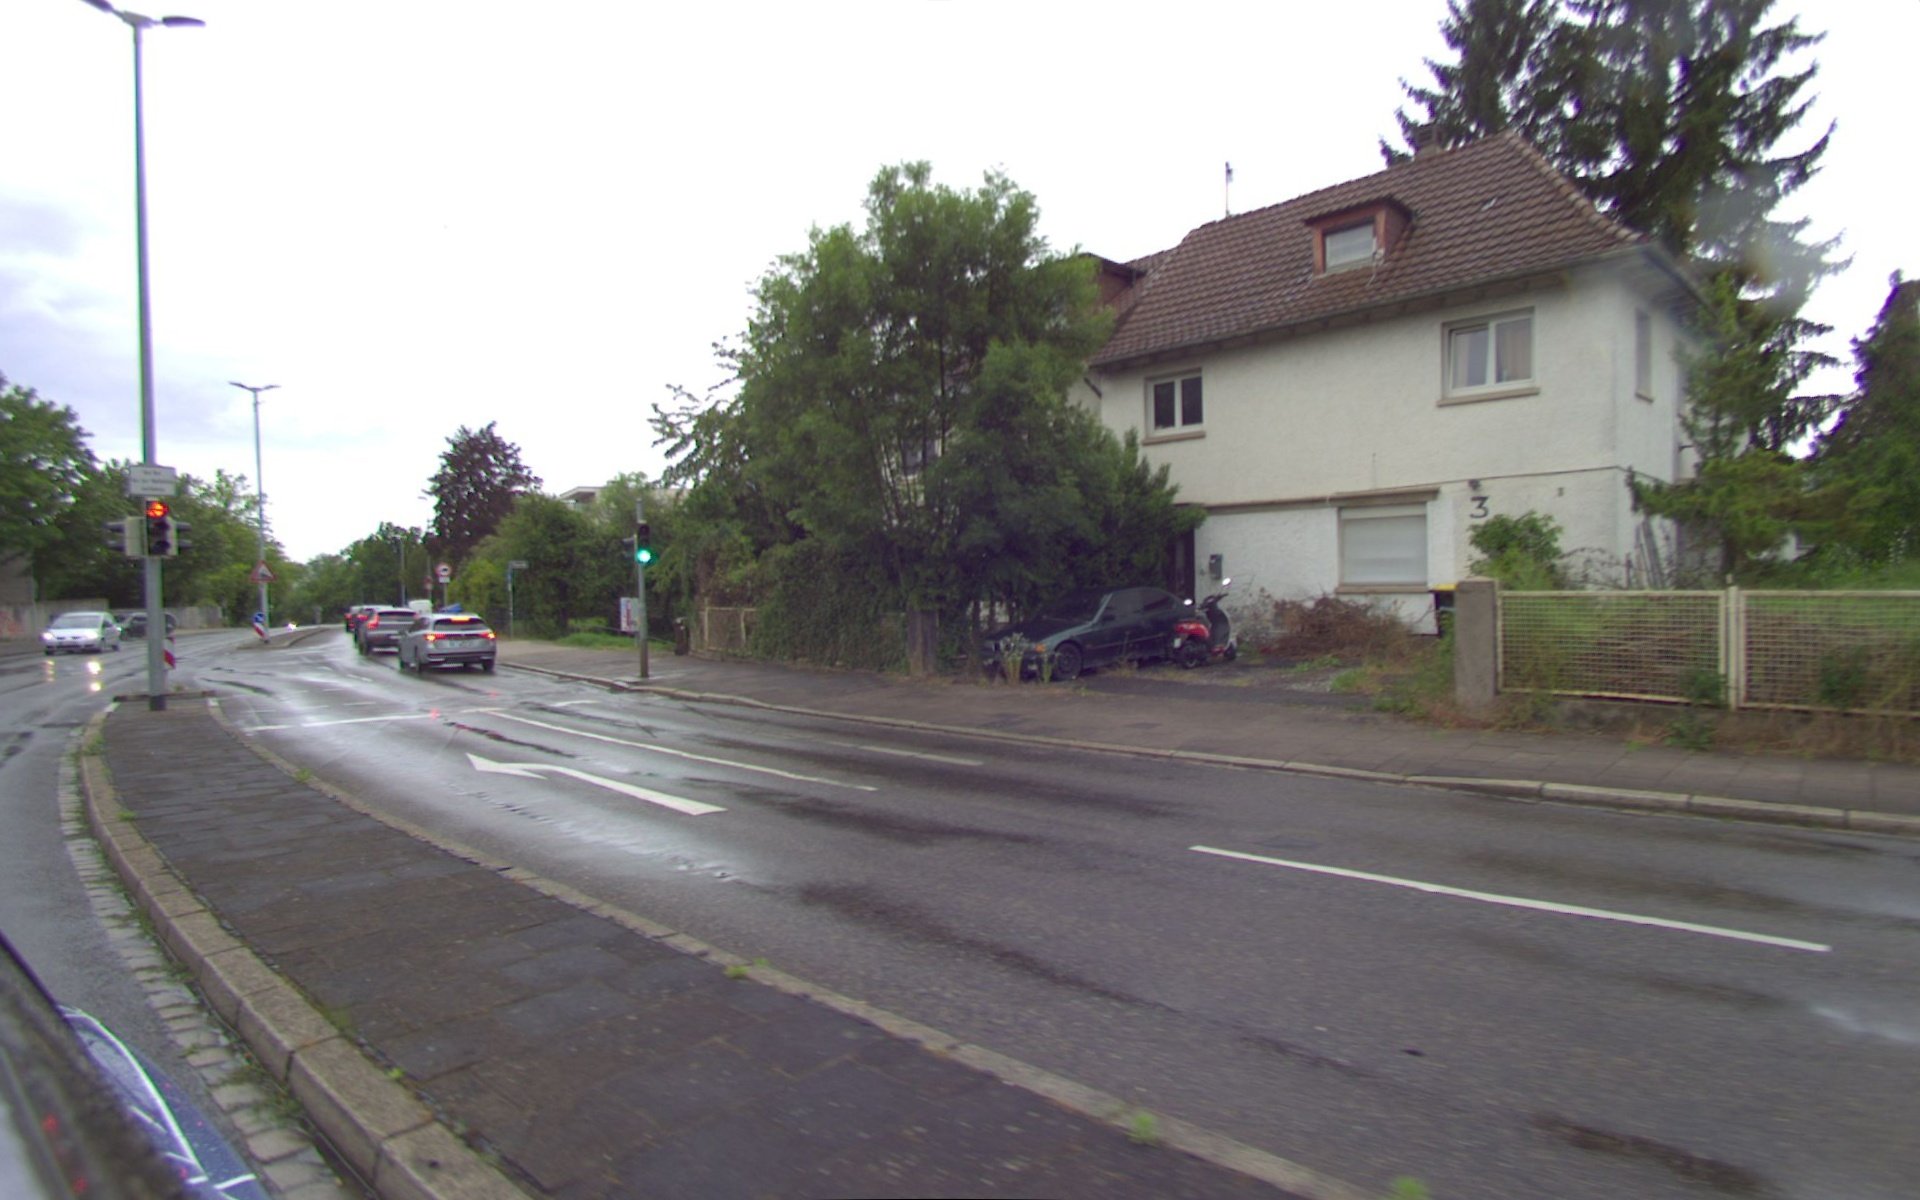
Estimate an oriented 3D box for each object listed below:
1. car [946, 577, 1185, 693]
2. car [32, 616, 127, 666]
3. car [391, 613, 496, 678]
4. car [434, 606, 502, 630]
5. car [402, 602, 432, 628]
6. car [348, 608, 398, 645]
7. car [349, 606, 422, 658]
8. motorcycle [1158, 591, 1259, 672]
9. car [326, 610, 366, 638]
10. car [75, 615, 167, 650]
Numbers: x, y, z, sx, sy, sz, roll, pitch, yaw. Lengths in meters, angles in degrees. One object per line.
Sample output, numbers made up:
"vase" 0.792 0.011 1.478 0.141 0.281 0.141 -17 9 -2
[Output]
"car" 1.849 0.495 16.794 1.933 1.405 3.945 -1 4 42
"car" -33.315 1.512 38.419 1.966 1.669 4.012 -1 1 -30
"car" -13.670 1.121 26.633 1.654 1.460 4.699 -1 1 -37
"car" -32.311 1.139 66.456 3.825 1.467 1.773 -1 1 -32
"car" -40.103 1.082 74.677 1.791 1.730 4.012 -1 1 -30
"car" -26.792 1.170 46.107 1.839 1.565 4.459 1 0 -32
"car" -20.664 1.094 36.326 1.857 1.690 4.242 -1 1 -35
"motorcycle" 4.186 0.493 16.918 0.727 1.097 2.180 -1 4 40
"car" -35.789 1.371 59.064 1.838 1.487 4.460 1 0 -30
"car" -45.032 1.685 54.423 1.967 1.669 4.236 -1 1 -10
